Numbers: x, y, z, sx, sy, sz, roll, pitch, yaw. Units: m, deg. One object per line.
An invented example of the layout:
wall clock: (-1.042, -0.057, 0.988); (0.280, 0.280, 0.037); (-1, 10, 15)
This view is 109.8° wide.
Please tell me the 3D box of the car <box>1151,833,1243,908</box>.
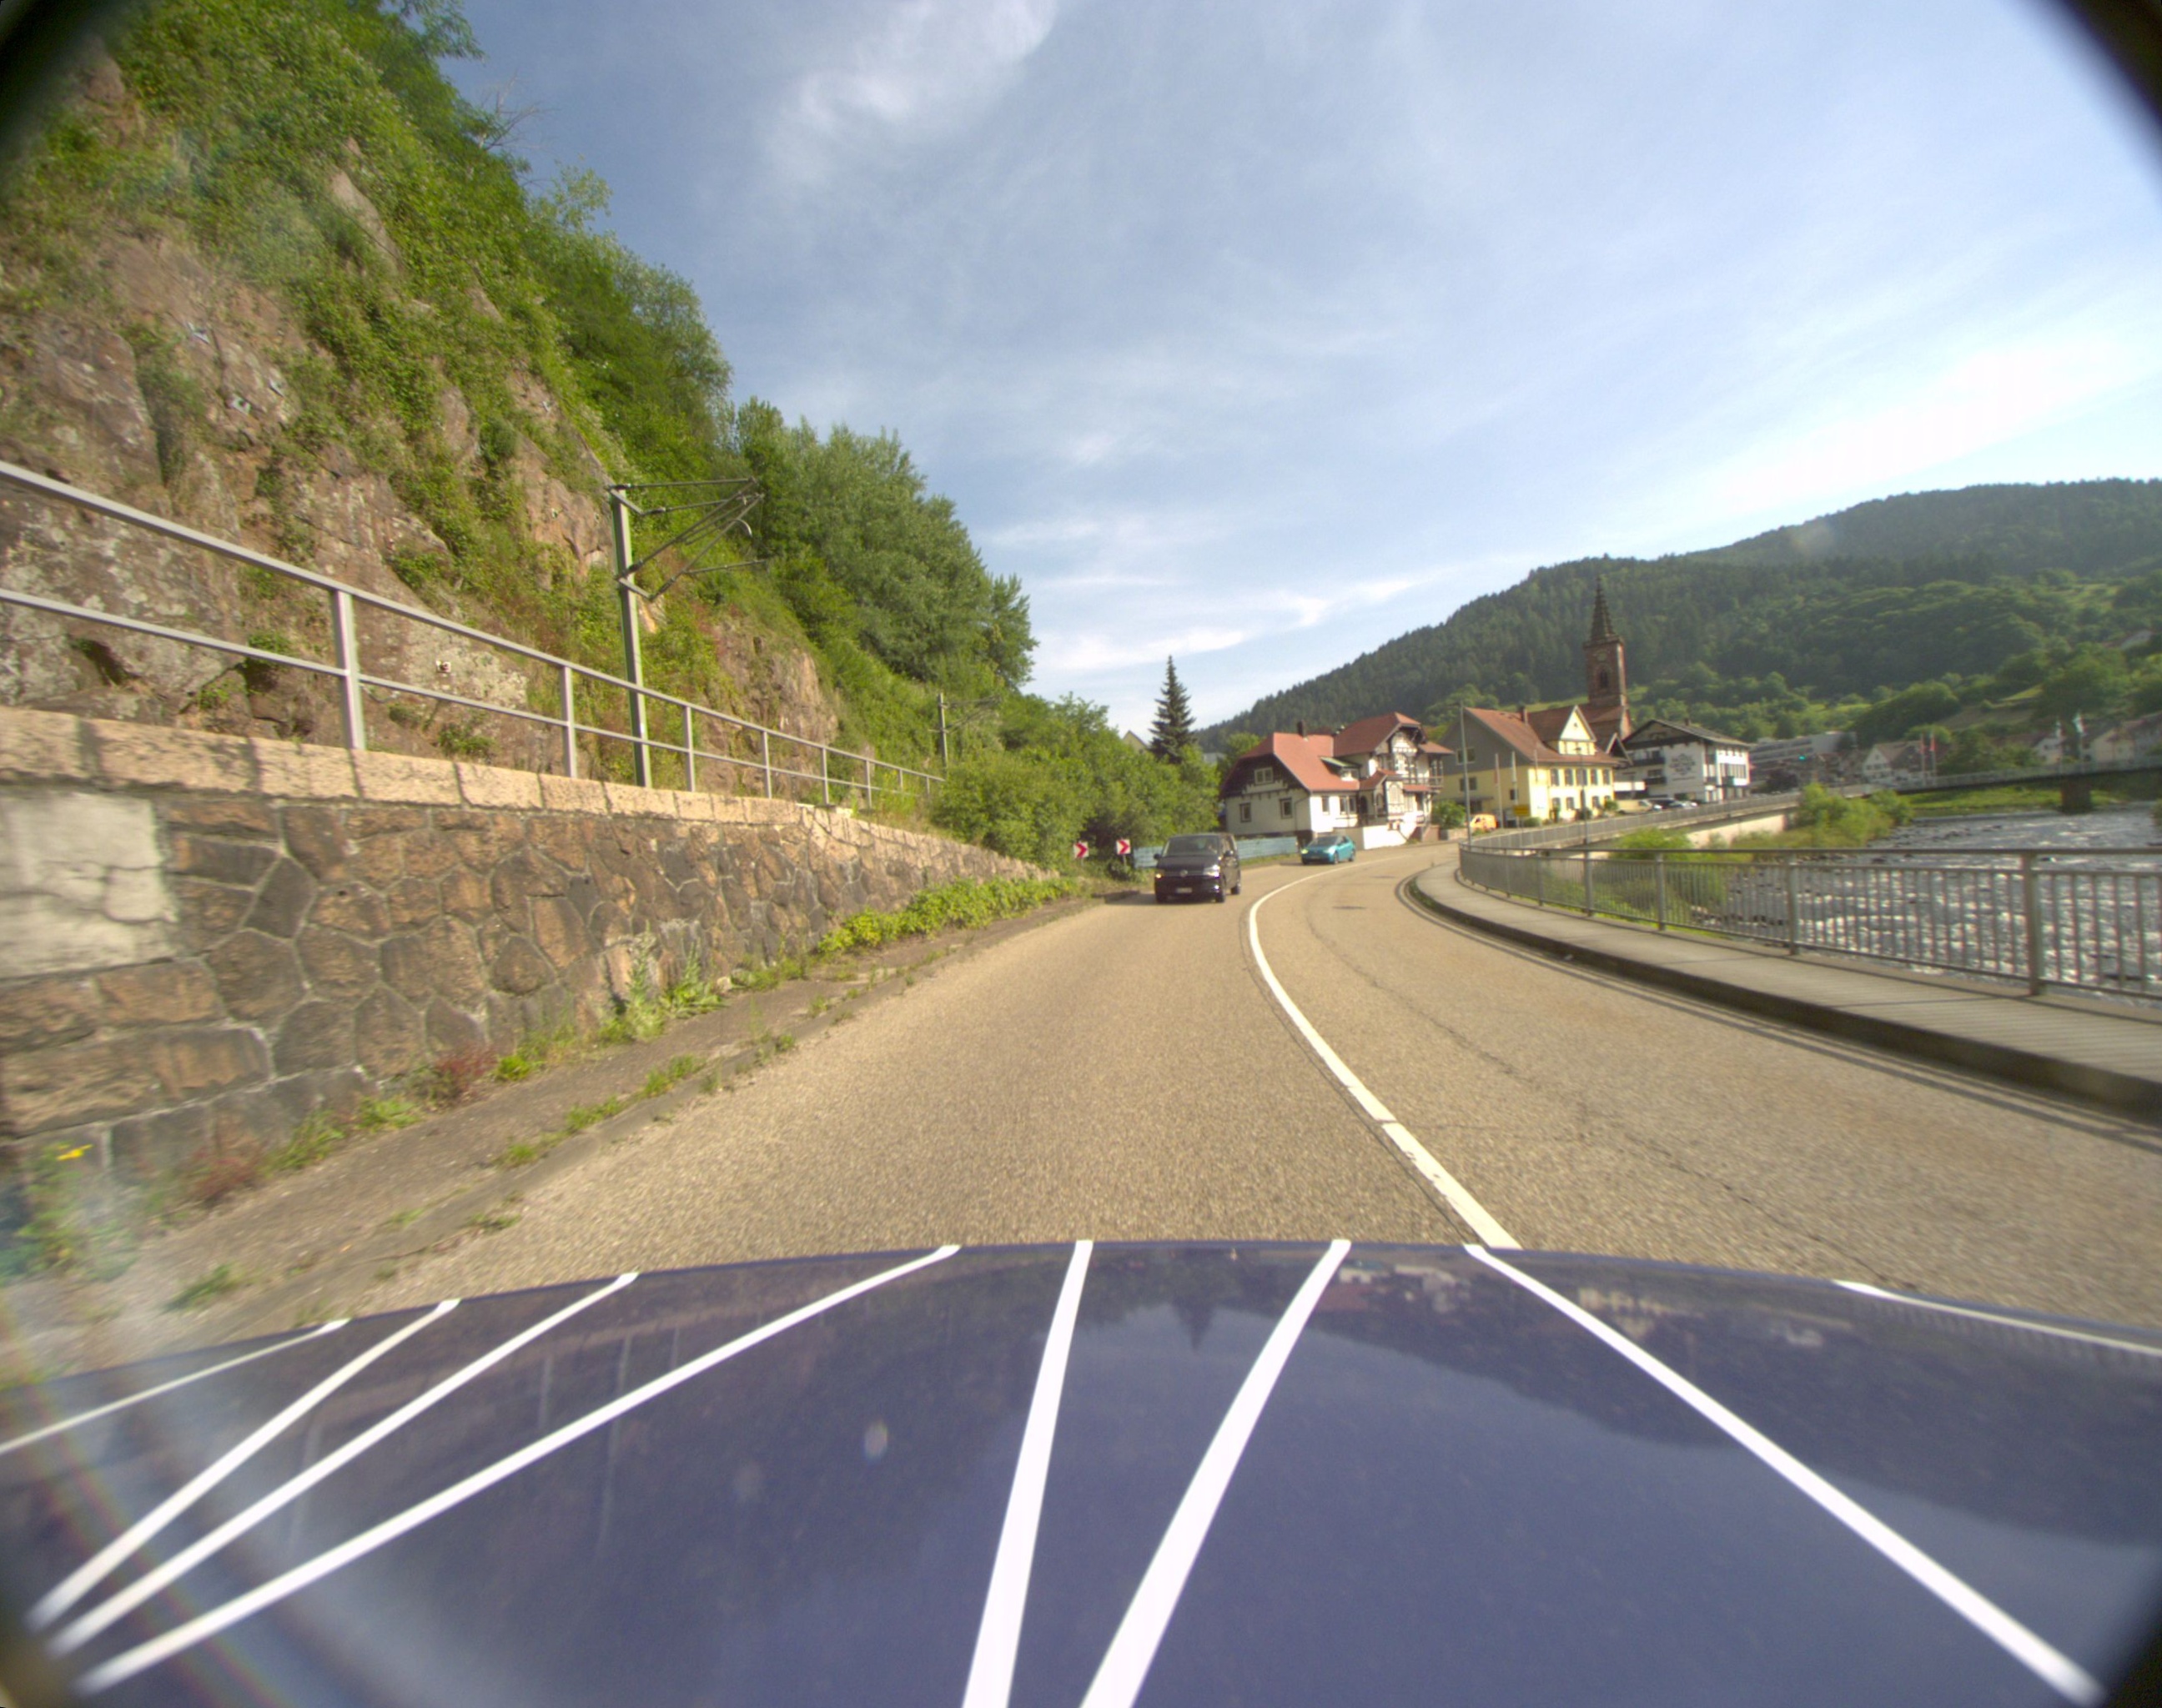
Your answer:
car: (3.558, 0.380, 22.541); (1.885, 1.953, 4.871); (-1, 1, 18)

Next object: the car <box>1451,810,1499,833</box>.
car: (36.393, -3.009, 70.182); (4.842, 1.987, 1.909); (-4, 5, -36)

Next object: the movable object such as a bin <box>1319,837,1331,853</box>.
movable object such as a bin: (18.042, -0.668, 56.236); (0.754, 1.056, 0.477); (-5, 1, -40)

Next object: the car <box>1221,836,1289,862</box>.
car: (11.707, -0.324, 51.261); (4.322, 1.460, 1.839); (-4, 0, 14)

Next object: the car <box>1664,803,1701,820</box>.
car: (59.875, -4.231, 75.635); (4.006, 1.634, 1.816); (-4, 4, -35)

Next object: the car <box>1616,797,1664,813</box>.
car: (70.490, -6.140, 95.872); (1.716, 1.948, 4.444); (-5, 6, -34)

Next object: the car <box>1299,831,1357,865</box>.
car: (13.486, -0.347, 41.371); (1.679, 1.513, 3.872); (-1, 3, 39)
